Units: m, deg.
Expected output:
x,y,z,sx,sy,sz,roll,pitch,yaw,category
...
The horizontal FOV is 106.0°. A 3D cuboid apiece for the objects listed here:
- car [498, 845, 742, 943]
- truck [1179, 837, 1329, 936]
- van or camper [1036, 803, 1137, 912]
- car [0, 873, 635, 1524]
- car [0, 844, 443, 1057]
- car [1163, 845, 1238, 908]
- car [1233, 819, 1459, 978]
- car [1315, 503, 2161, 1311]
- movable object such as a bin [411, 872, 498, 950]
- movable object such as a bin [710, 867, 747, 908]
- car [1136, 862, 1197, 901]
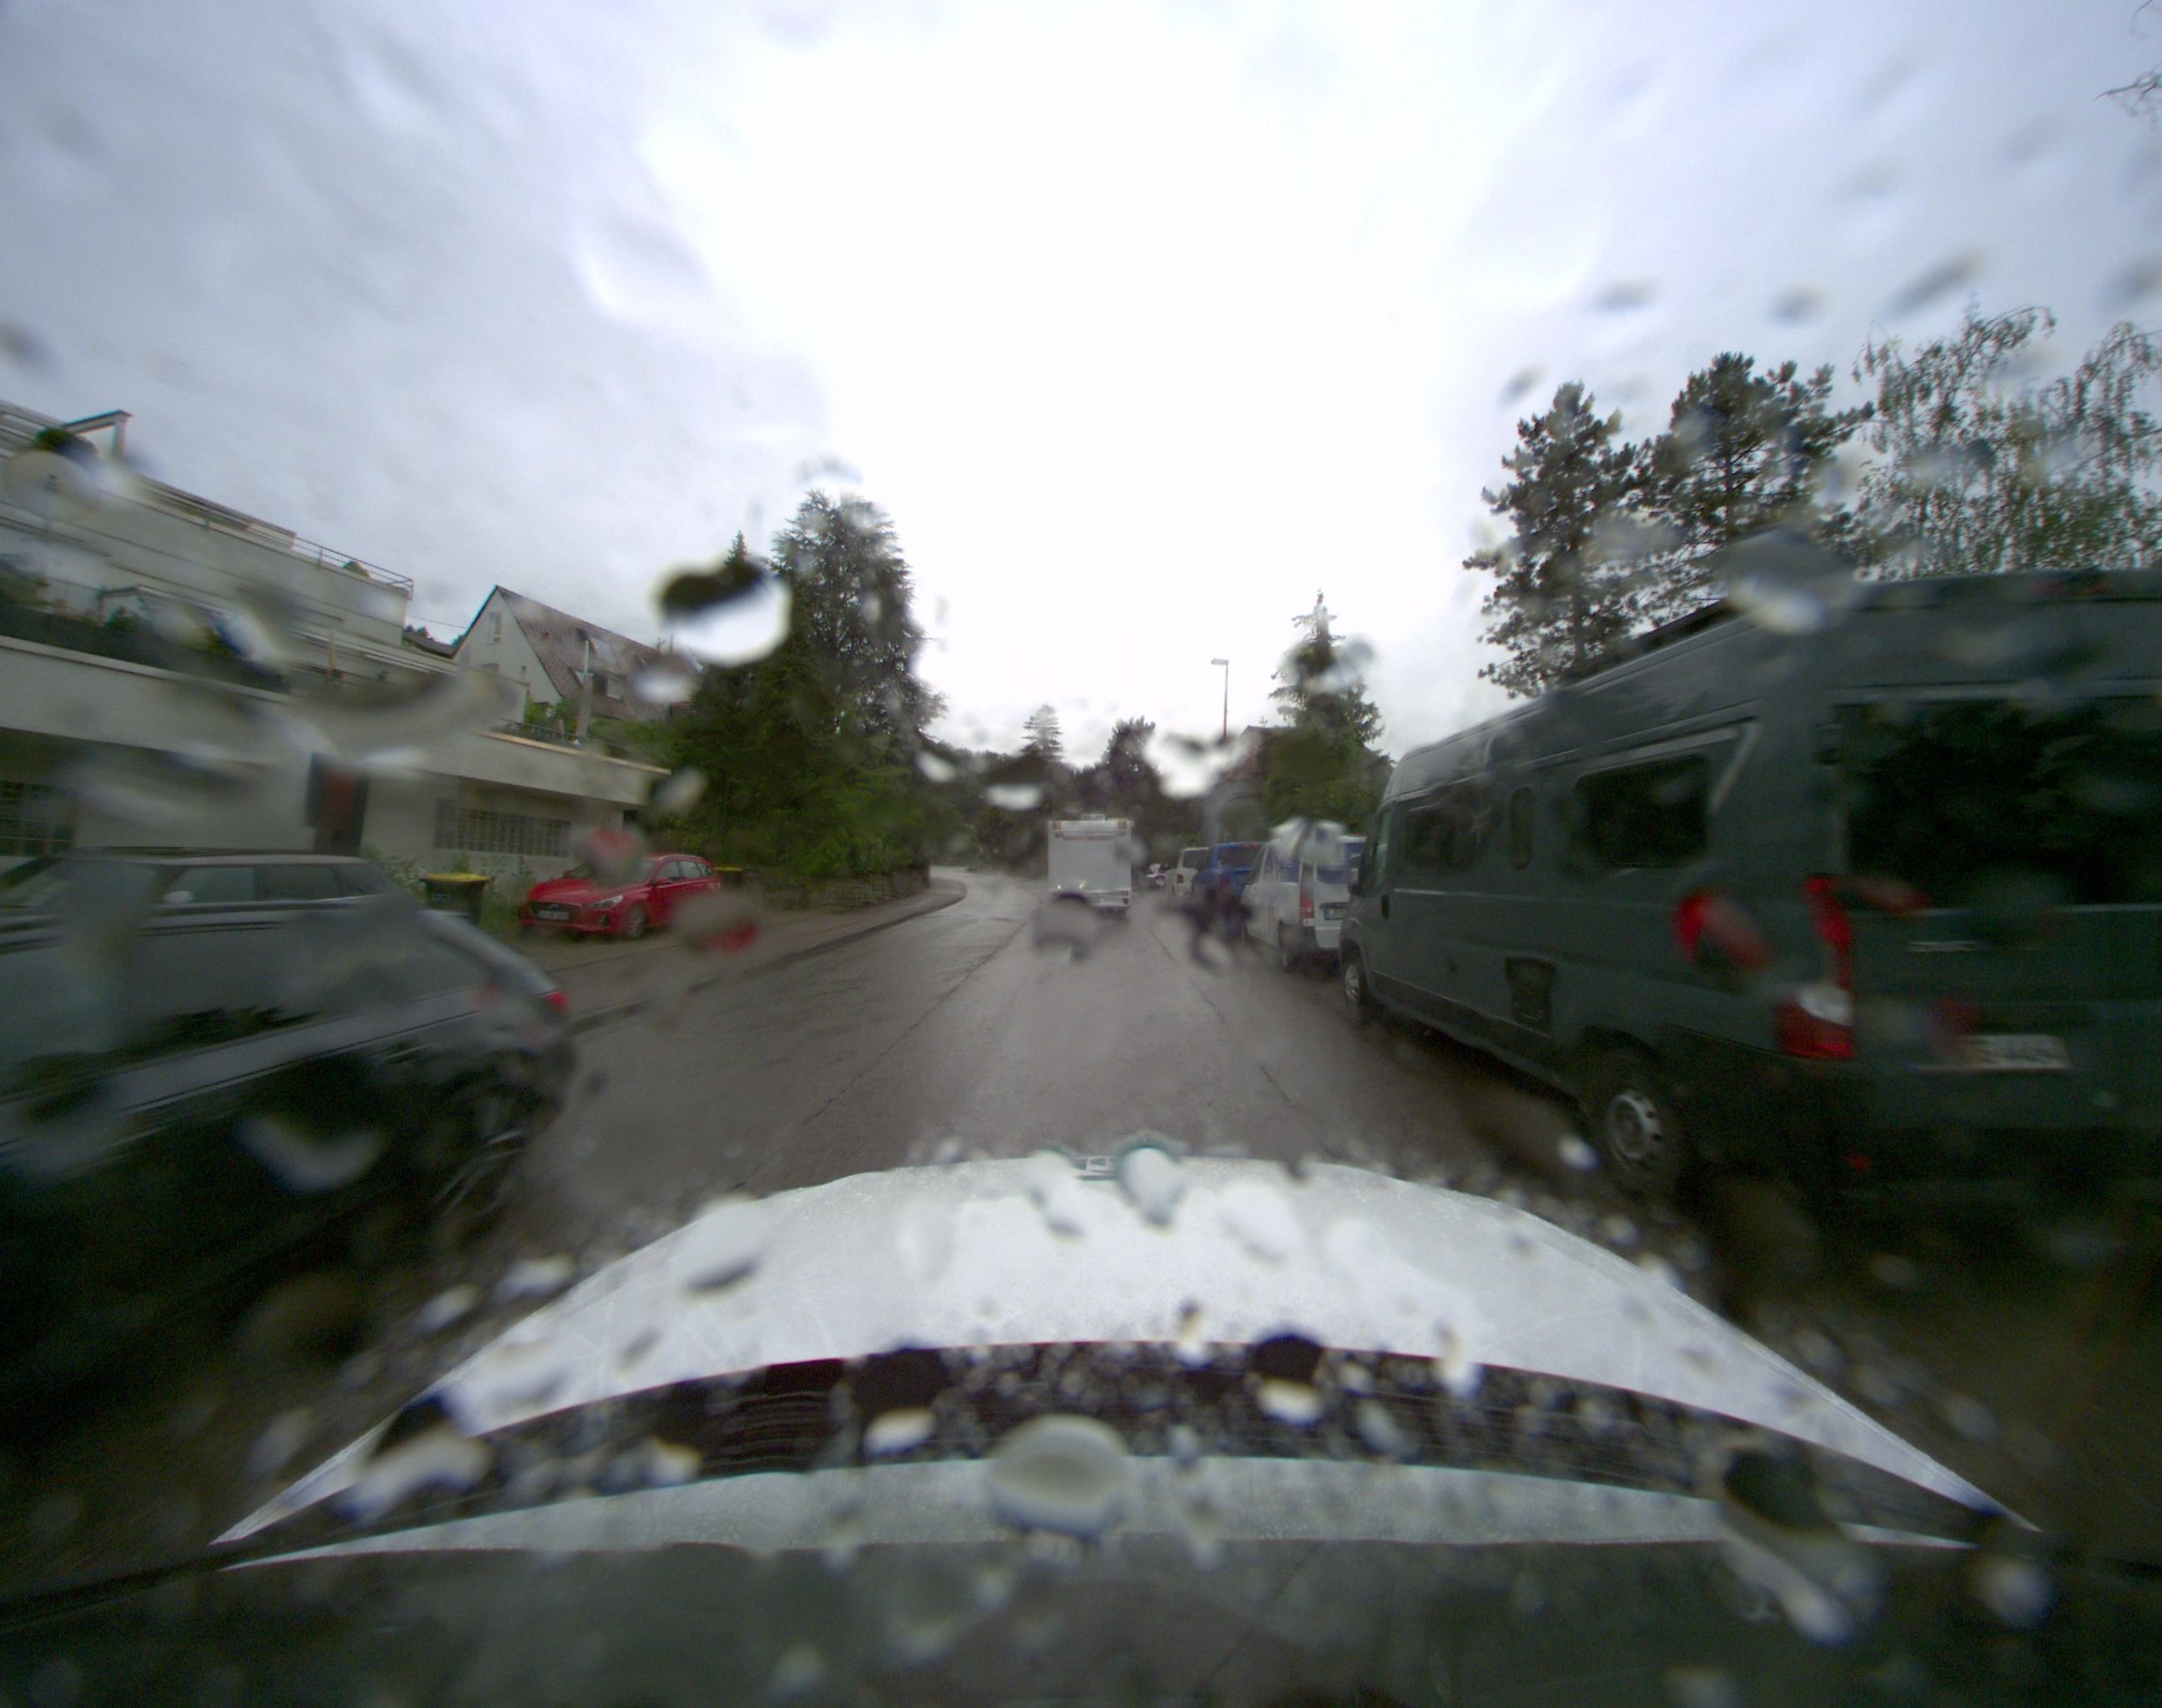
x,y,z,sx,sy,sz,roll,pitch,yaw,category
-8.365,0.664,15.383,1.768,1.437,4.589,4,0,1,car
3.737,0.644,19.005,2.107,1.852,6.618,1,0,1,truck
0.262,0.194,24.433,2.606,2.853,6.033,1,-2,2,van or camper
-3.366,0.853,2.244,1.768,1.437,4.362,-3,-1,0,car
-8.211,0.670,7.198,1.627,1.396,4.240,3,0,1,car
3.938,0.720,27.635,1.854,1.921,5.079,1,0,1,car
3.619,0.549,12.260,1.820,1.842,5.272,-1,-1,2,car
3.381,0.178,5.520,2.023,2.505,5.958,-1,-1,2,car
-9.146,0.819,11.913,0.637,1.084,0.753,0,-1,7,movable object such as a bin
-9.351,0.877,21.600,0.573,1.056,0.685,1,-1,13,movable object such as a bin
3.407,1.082,33.294,1.683,1.457,4.049,1,0,-6,car
